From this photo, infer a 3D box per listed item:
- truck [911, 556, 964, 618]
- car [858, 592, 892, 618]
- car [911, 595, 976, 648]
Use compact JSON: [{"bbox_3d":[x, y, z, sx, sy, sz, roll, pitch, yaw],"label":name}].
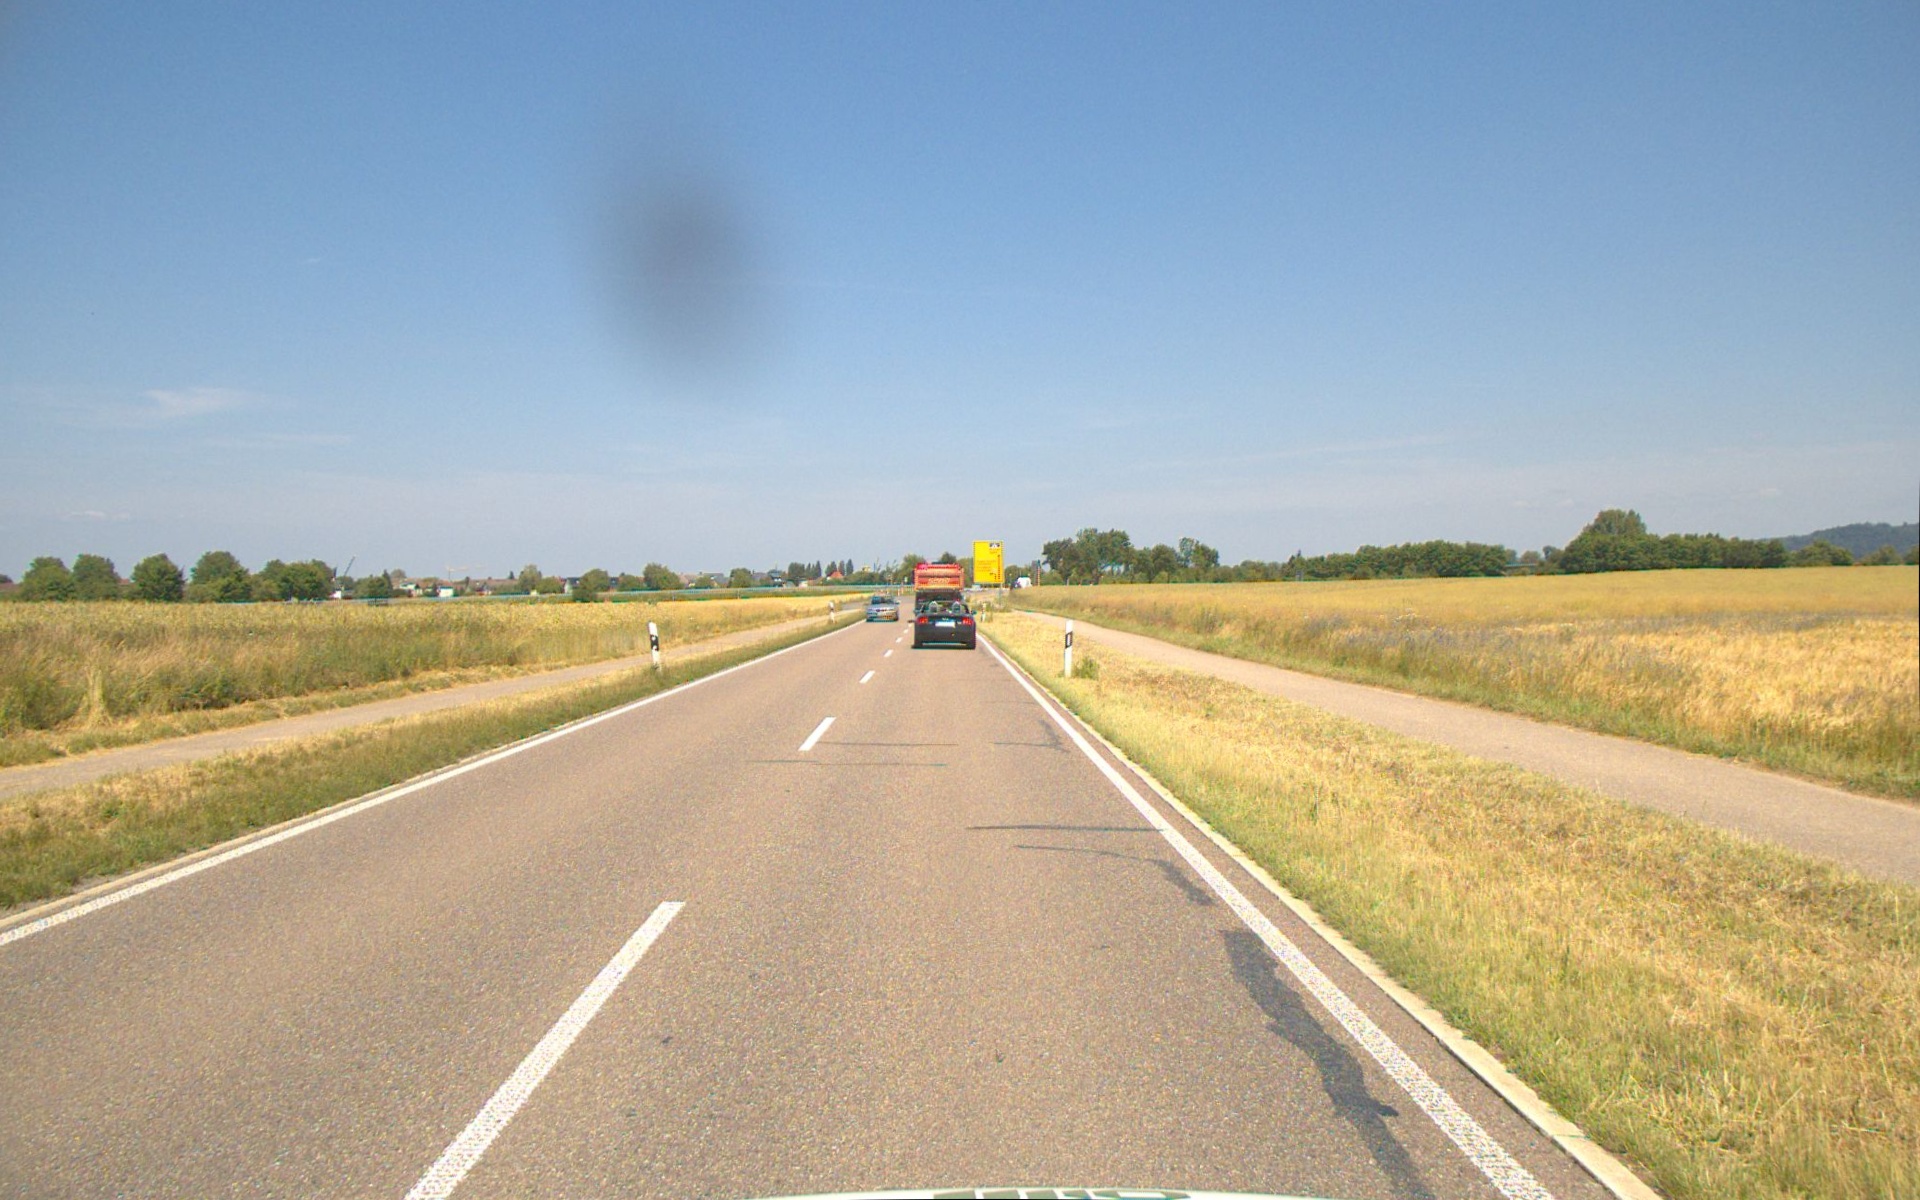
[{"bbox_3d":[-1.225,-0.624,87.374,2.659,3.106,8.162,0,0,-1],"label":"truck"},{"bbox_3d":[-4.639,0.280,90.472,1.712,1.425,4.031,0,0,-1],"label":"car"},{"bbox_3d":[-0.473,0.582,46.401,1.712,1.400,3.678,1,0,-1],"label":"car"}]
